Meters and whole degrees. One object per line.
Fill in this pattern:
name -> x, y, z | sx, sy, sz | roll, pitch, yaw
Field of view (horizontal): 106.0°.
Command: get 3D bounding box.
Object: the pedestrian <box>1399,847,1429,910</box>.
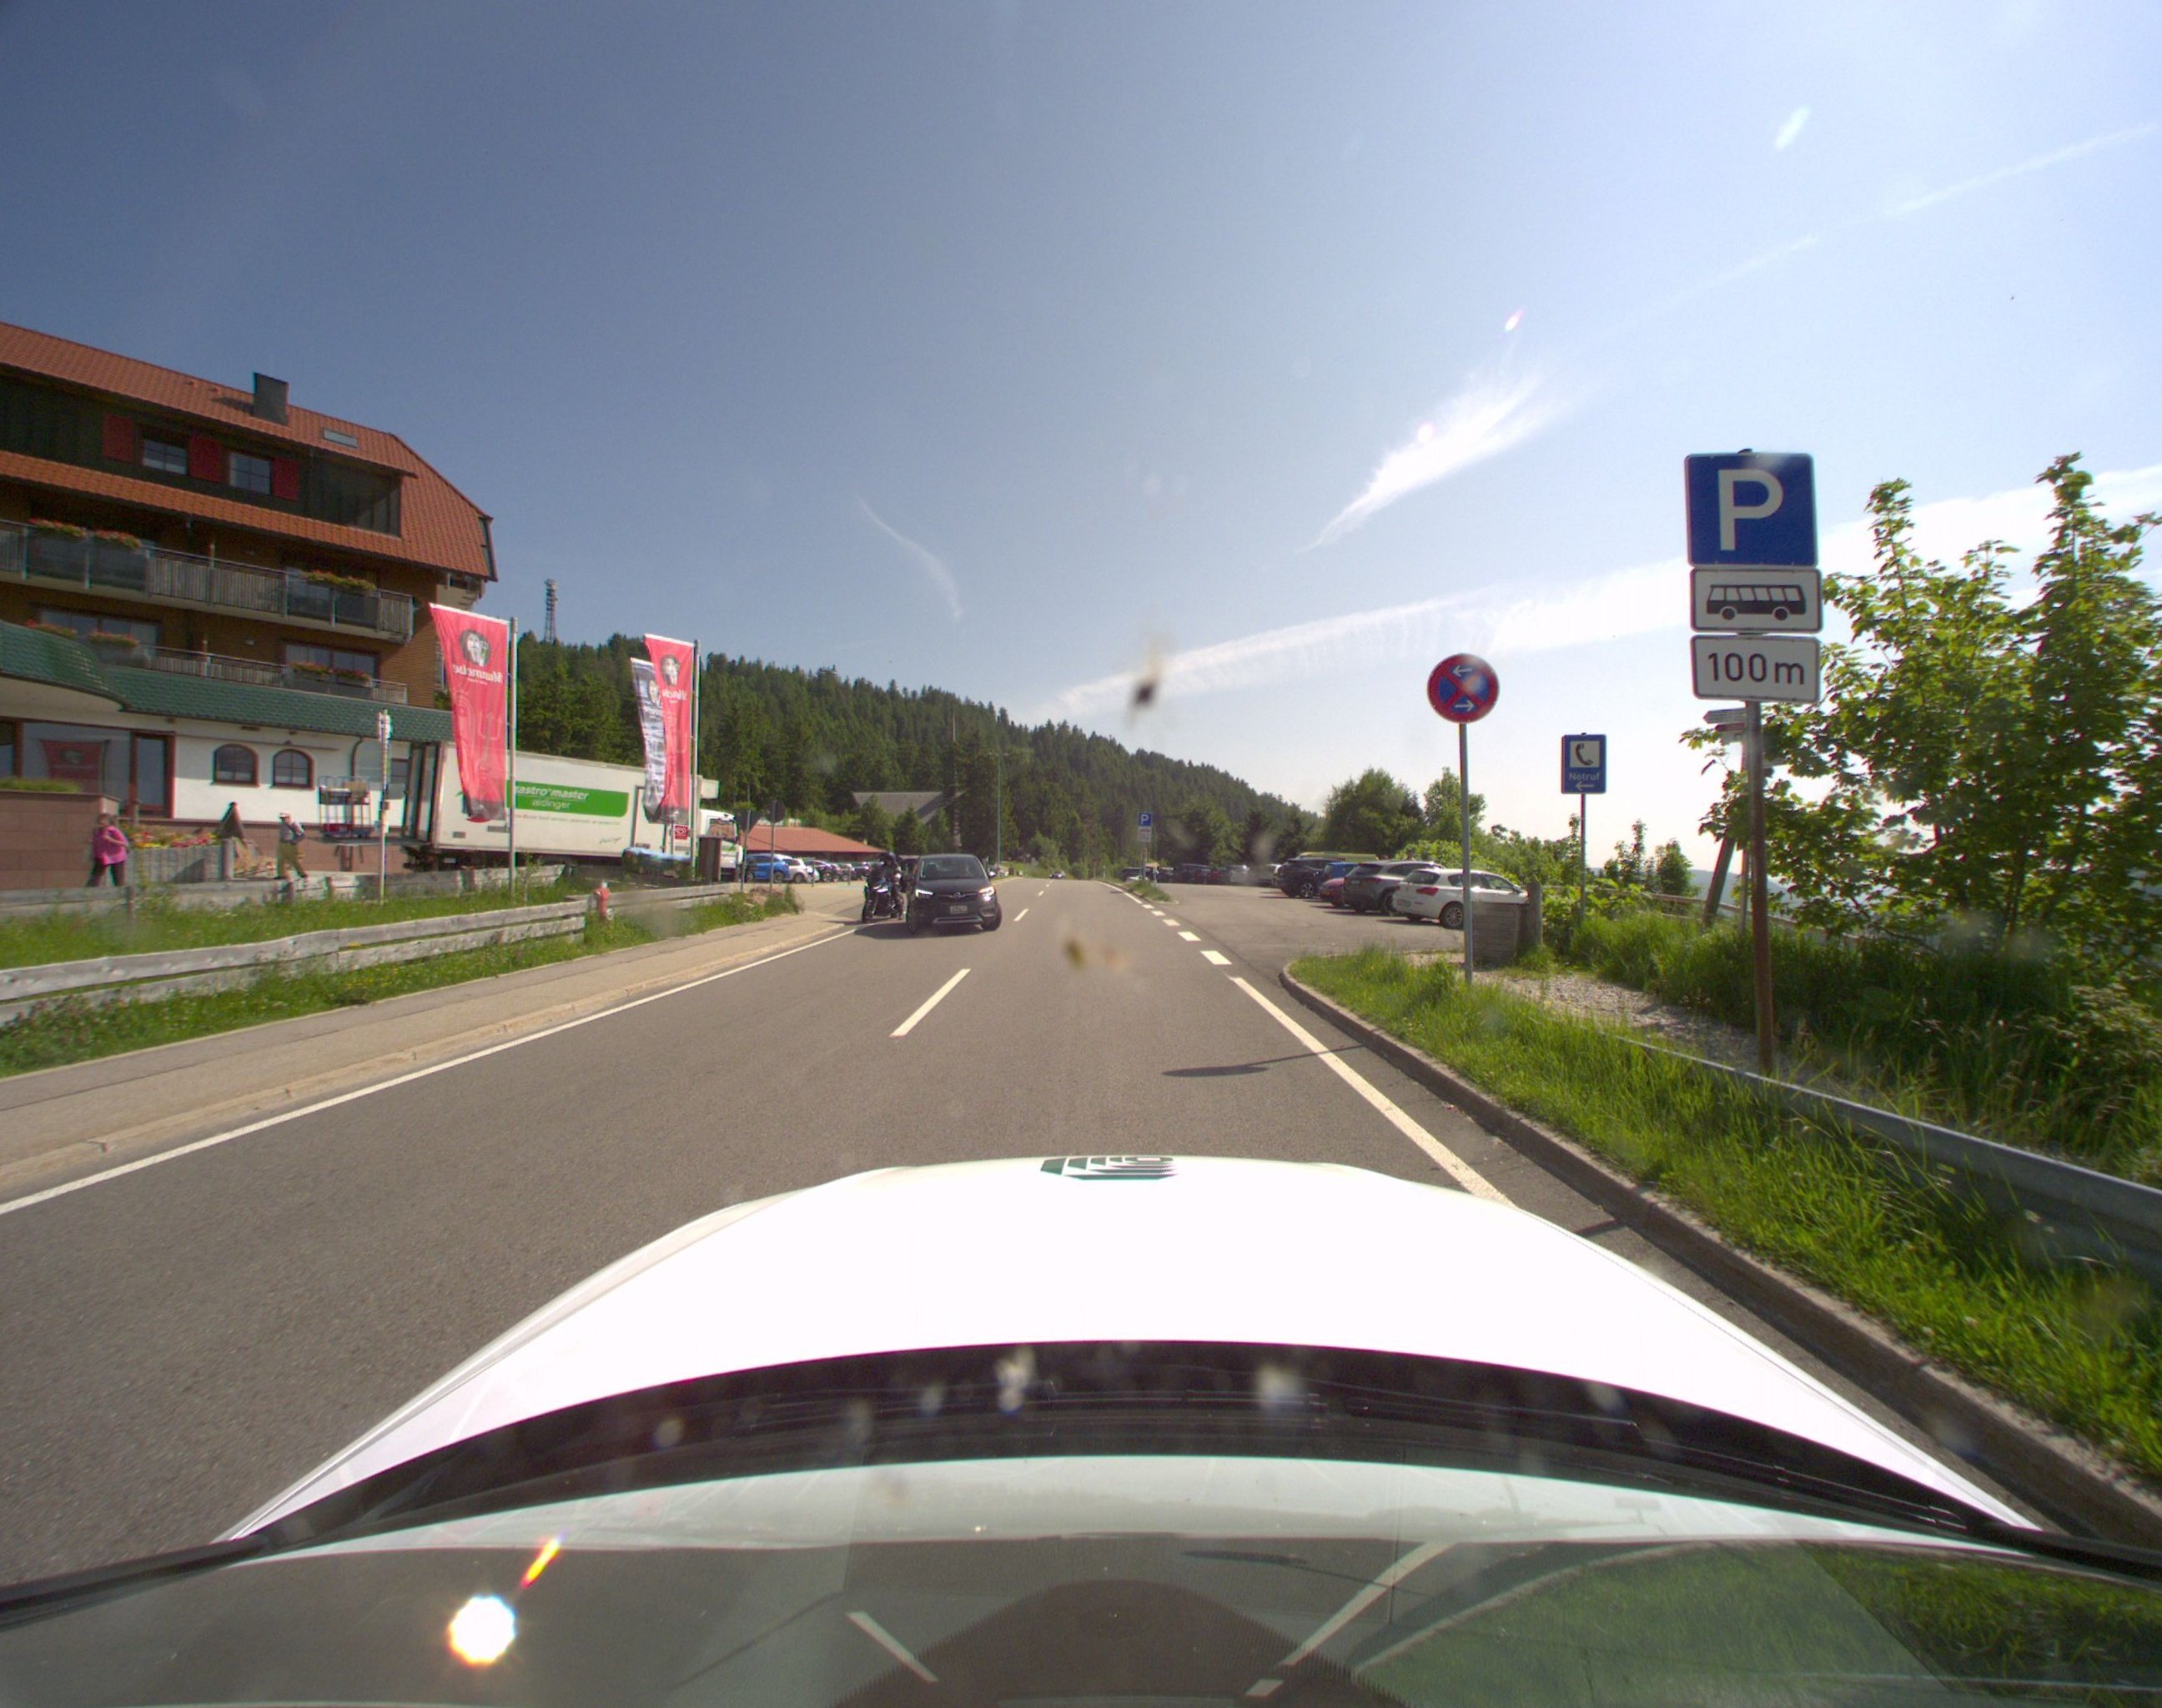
pedestrian -> 10.259, 0.746, 25.085 | 0.605, 1.900, 0.680 | 3, -1, 5

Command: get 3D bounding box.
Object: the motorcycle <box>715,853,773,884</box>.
motorcycle -> -16.722, 0.732, 40.449 | 2.453, 1.407, 0.996 | 4, -2, -33

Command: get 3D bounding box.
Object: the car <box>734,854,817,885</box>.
car -> -19.025, 0.934, 50.833 | 4.556, 1.863, 1.813 | 0, -1, -44

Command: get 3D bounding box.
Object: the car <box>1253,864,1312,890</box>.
car -> 14.451, 1.666, 58.391 | 4.246, 1.695, 1.842 | 4, -2, -38

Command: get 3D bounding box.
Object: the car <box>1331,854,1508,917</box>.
car -> 9.730, 0.903, 23.533 | 4.399, 1.568, 1.900 | 3, 0, -12

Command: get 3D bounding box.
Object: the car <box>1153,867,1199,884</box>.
car -> 9.251, 2.096, 79.311 | 4.002, 1.443, 1.826 | 4, -2, -22

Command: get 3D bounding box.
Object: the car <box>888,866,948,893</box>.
car -> -10.187, 1.540, 50.686 | 1.818, 1.540, 4.142 | 0, 0, -43

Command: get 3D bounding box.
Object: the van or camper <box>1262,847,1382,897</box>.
van or camper -> 11.370, 0.814, 38.623 | 5.071, 2.013, 1.883 | 3, 0, 1

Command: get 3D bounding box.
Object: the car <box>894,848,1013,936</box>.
car -> -2.878, 0.730, 17.622 | 1.985, 1.616, 4.126 | -2, 0, -17

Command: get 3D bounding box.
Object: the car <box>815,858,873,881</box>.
car -> -18.594, 1.191, 63.997 | 4.021, 1.704, 1.804 | 0, 0, -41

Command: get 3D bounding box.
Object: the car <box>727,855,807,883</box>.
car -> -18.616, 0.868, 48.388 | 4.023, 1.546, 1.975 | 0, 0, -44

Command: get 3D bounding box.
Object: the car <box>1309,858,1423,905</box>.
car -> 10.432, 0.987, 29.921 | 3.569, 1.495, 1.648 | 3, 0, 0

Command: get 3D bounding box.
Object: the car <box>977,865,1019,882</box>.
car -> -7.868, 1.804, 76.833 | 1.750, 1.568, 4.009 | 2, -2, -45

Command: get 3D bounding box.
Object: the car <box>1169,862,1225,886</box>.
car -> 10.816, 1.869, 76.151 | 4.773, 1.880, 1.953 | 4, -2, -20

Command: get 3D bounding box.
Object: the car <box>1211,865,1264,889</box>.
car -> 12.943, 1.917, 67.283 | 4.293, 1.695, 1.968 | 5, -2, -39

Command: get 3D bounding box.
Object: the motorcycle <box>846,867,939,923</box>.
motorcycle -> -4.619, 0.983, 20.122 | 0.803, 1.265, 2.342 | -1, 0, 32

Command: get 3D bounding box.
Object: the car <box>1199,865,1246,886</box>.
car -> 12.320, 1.851, 70.818 | 4.018, 1.590, 1.842 | 5, -2, -38

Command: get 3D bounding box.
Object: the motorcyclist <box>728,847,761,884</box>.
motorcyclist -> -16.723, 0.568, 40.464 | 1.252, 1.720, 1.054 | 4, -2, -33

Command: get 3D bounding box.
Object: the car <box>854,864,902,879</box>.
car -> -19.020, 1.624, 76.342 | 1.884, 1.420, 4.023 | -1, -1, 44

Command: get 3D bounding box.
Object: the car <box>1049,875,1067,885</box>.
car -> -3.522, 3.914, 124.697 | 1.566, 1.429, 3.389 | 0, 0, 22

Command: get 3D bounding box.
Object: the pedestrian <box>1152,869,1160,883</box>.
pedestrian -> 7.414, 2.165, 80.762 | 0.770, 1.403, 0.670 | 0, -1, 5

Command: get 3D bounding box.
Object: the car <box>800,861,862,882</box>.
car -> -18.697, 1.308, 60.985 | 1.695, 1.486, 4.103 | -1, 0, 44

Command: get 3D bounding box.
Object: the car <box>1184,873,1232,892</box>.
car -> 11.401, 2.585, 73.117 | 4.009, 1.415, 1.729 | 4, -2, -28

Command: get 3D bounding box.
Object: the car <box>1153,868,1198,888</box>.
car -> 9.543, 2.407, 82.280 | 4.008, 1.662, 1.982 | 7, -4, -28

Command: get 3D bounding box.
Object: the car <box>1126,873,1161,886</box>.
car -> 8.531, 3.528, 111.254 | 4.463, 1.299, 1.573 | 6, -2, -17

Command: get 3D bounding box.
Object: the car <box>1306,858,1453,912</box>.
car -> 9.504, 0.974, 26.053 | 3.987, 1.510, 1.836 | 3, 0, -10

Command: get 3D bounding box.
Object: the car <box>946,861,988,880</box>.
car -> -9.815, 1.405, 69.961 | 1.792, 1.552, 3.953 | 1, -1, -40

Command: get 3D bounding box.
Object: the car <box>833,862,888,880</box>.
car -> -18.273, 1.398, 67.642 | 4.020, 1.371, 1.791 | 0, 0, -39

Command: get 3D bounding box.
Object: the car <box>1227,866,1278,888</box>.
car -> 13.687, 1.866, 64.883 | 4.018, 1.476, 1.748 | 5, -2, -38

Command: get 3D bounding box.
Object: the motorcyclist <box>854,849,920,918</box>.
motorcyclist -> -4.739, 0.699, 19.933 | 0.870, 1.641, 1.307 | -1, -1, 32

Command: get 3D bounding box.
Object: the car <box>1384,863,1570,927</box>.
car -> 9.894, 1.018, 20.453 | 3.987, 1.385, 1.651 | 3, -1, -11

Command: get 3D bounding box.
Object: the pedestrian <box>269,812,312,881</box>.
pedestrian -> -19.574, -0.179, 20.165 | 0.568, 1.689, 0.657 | -1, -1, 35

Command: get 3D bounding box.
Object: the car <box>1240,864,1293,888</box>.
car -> 14.122, 1.681, 61.946 | 4.018, 1.549, 1.800 | 5, -2, -38

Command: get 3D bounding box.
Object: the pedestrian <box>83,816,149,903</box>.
pedestrian -> -19.835, 0.110, 16.740 | 0.690, 1.716, 0.803 | -1, -1, 35

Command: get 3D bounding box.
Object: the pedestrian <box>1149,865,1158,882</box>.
pedestrian -> 7.352, 1.990, 82.889 | 0.636, 1.761, 0.573 | 7, -4, -44

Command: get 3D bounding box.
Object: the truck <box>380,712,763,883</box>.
truck -> -14.366, -1.296, 23.944 | 3.031, 3.972, 8.825 | 3, -1, 37

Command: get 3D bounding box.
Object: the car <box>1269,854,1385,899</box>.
car -> 9.809, 0.888, 32.627 | 3.982, 1.613, 1.912 | 2, -1, -6

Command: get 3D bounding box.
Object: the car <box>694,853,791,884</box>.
car -> -18.710, 0.810, 45.162 | 1.915, 1.664, 4.572 | -1, -2, 44

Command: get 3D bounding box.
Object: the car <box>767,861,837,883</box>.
car -> -18.576, 1.169, 54.328 | 1.890, 1.430, 4.024 | -1, 0, 43
